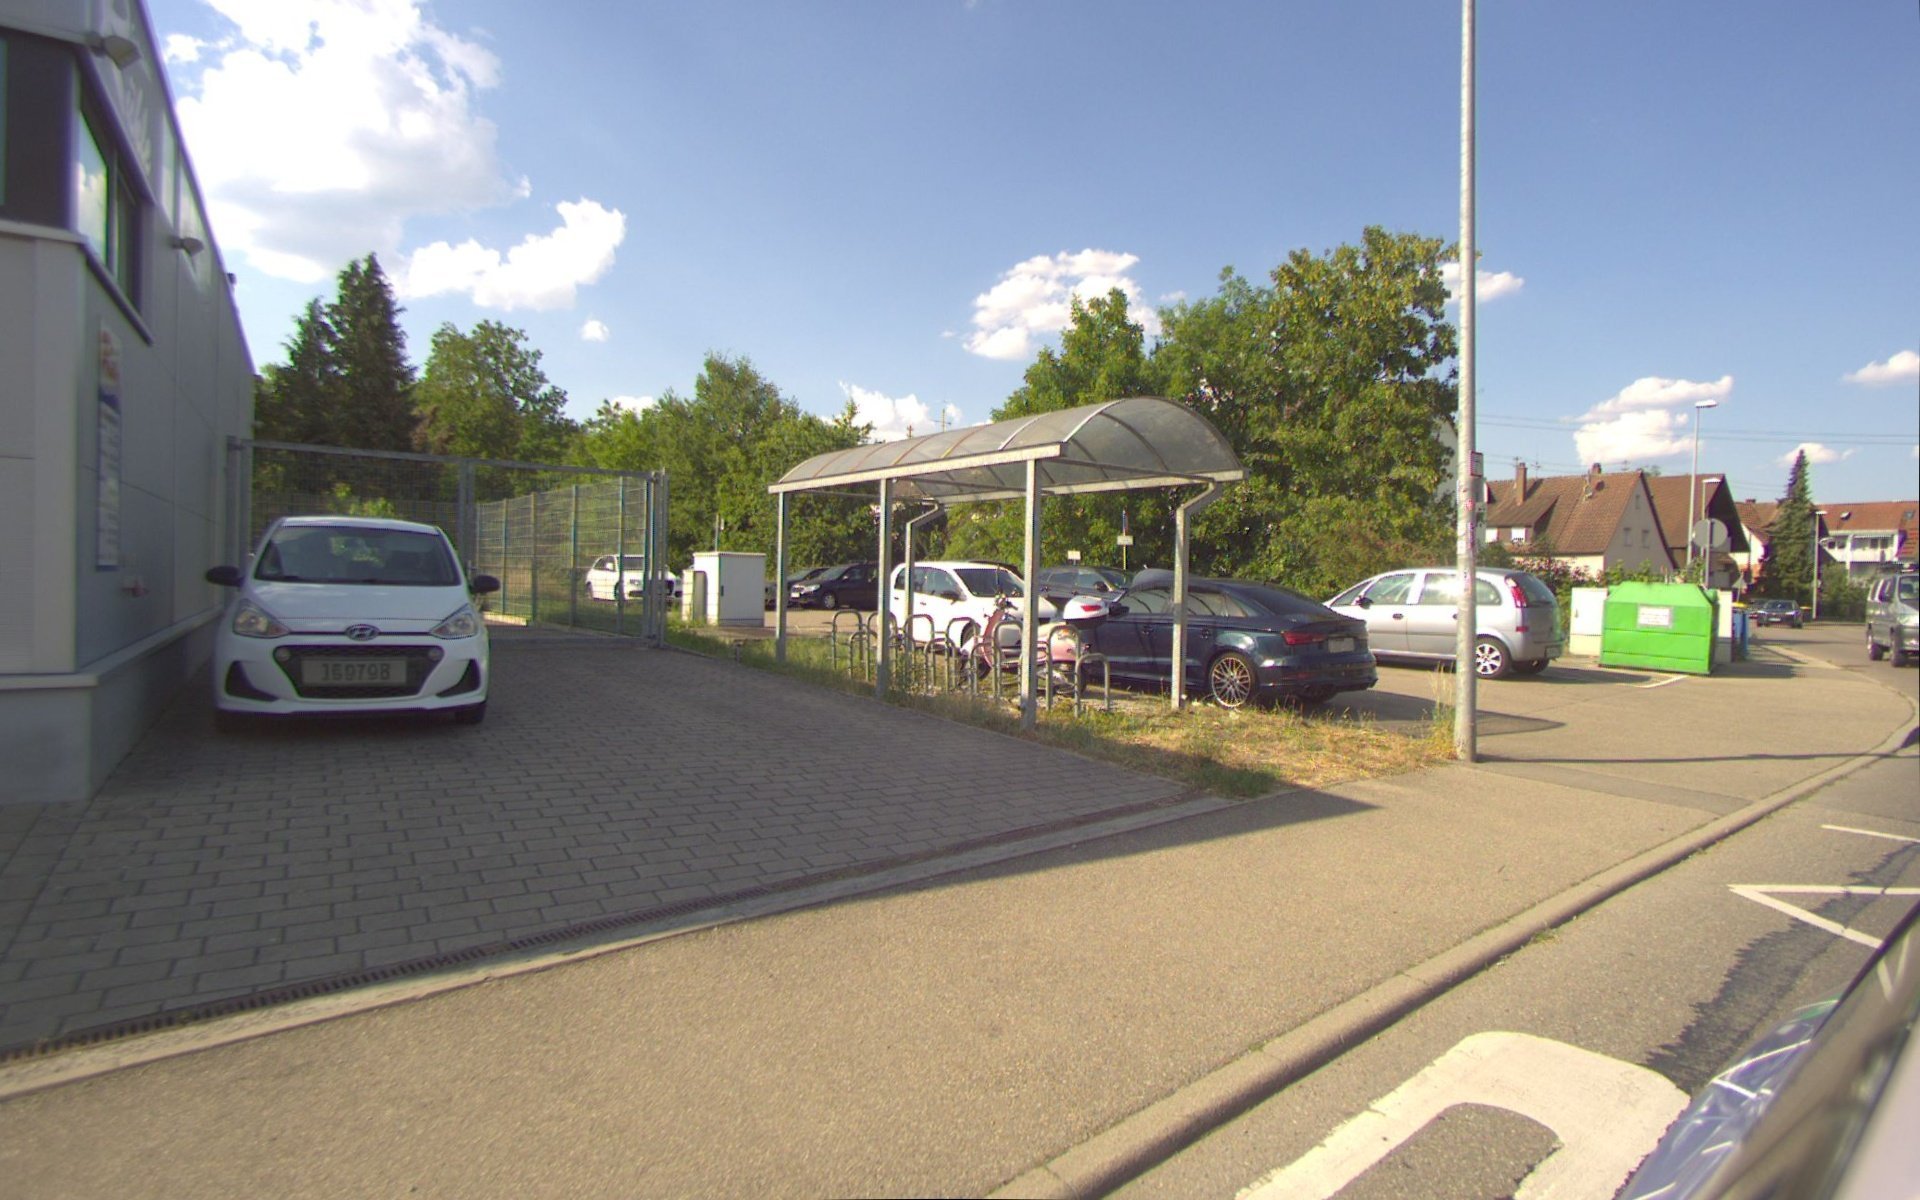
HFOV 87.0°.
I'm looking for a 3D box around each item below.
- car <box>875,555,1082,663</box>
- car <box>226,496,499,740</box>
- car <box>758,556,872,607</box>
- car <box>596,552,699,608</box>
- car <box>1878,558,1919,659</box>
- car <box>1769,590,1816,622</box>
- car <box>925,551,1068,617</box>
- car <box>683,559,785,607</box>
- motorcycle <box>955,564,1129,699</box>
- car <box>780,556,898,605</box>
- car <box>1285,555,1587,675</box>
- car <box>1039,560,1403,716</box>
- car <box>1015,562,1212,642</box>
[{"bbox_3d":[0.193,0.064,16.033,1.470,1.434,3.449,0,3,-36],"label":"car"},{"bbox_3d":[-4.714,0.017,8.014,1.469,1.475,3.572,2,3,-32],"label":"car"},{"bbox_3d":[-4.999,-0.624,35.053,3.520,1.673,1.682,0,2,-37],"label":"car"},{"bbox_3d":[-9.442,-0.637,30.358,1.703,1.530,4.189,0,2,-36],"label":"car"},{"bbox_3d":[21.178,0.154,21.697,1.811,2.025,4.755,1,1,38],"label":"car"},{"bbox_3d":[48.434,0.323,58.922,1.966,1.676,3.943,5,3,39],"label":"car"},{"bbox_3d":[1.048,-0.437,27.915,3.885,1.673,1.679,0,2,-43],"label":"car"},{"bbox_3d":[-7.134,-0.571,31.638,1.596,1.392,4.189,0,2,-36],"label":"car"},{"bbox_3d":[0.897,0.310,11.384,1.818,1.340,0.633,4,2,32],"label":"motorcycle"},{"bbox_3d":[-3.968,-0.649,33.398,3.509,1.518,1.682,0,2,-37],"label":"car"},{"bbox_3d":[7.342,0.125,15.916,1.653,1.623,3.948,-1,3,-40],"label":"car"},{"bbox_3d":[2.936,0.316,12.174,1.596,1.434,4.077,0,4,-38],"label":"car"},{"bbox_3d":[3.113,-0.034,21.160,1.653,1.466,3.948,-1,3,-40],"label":"car"}]
